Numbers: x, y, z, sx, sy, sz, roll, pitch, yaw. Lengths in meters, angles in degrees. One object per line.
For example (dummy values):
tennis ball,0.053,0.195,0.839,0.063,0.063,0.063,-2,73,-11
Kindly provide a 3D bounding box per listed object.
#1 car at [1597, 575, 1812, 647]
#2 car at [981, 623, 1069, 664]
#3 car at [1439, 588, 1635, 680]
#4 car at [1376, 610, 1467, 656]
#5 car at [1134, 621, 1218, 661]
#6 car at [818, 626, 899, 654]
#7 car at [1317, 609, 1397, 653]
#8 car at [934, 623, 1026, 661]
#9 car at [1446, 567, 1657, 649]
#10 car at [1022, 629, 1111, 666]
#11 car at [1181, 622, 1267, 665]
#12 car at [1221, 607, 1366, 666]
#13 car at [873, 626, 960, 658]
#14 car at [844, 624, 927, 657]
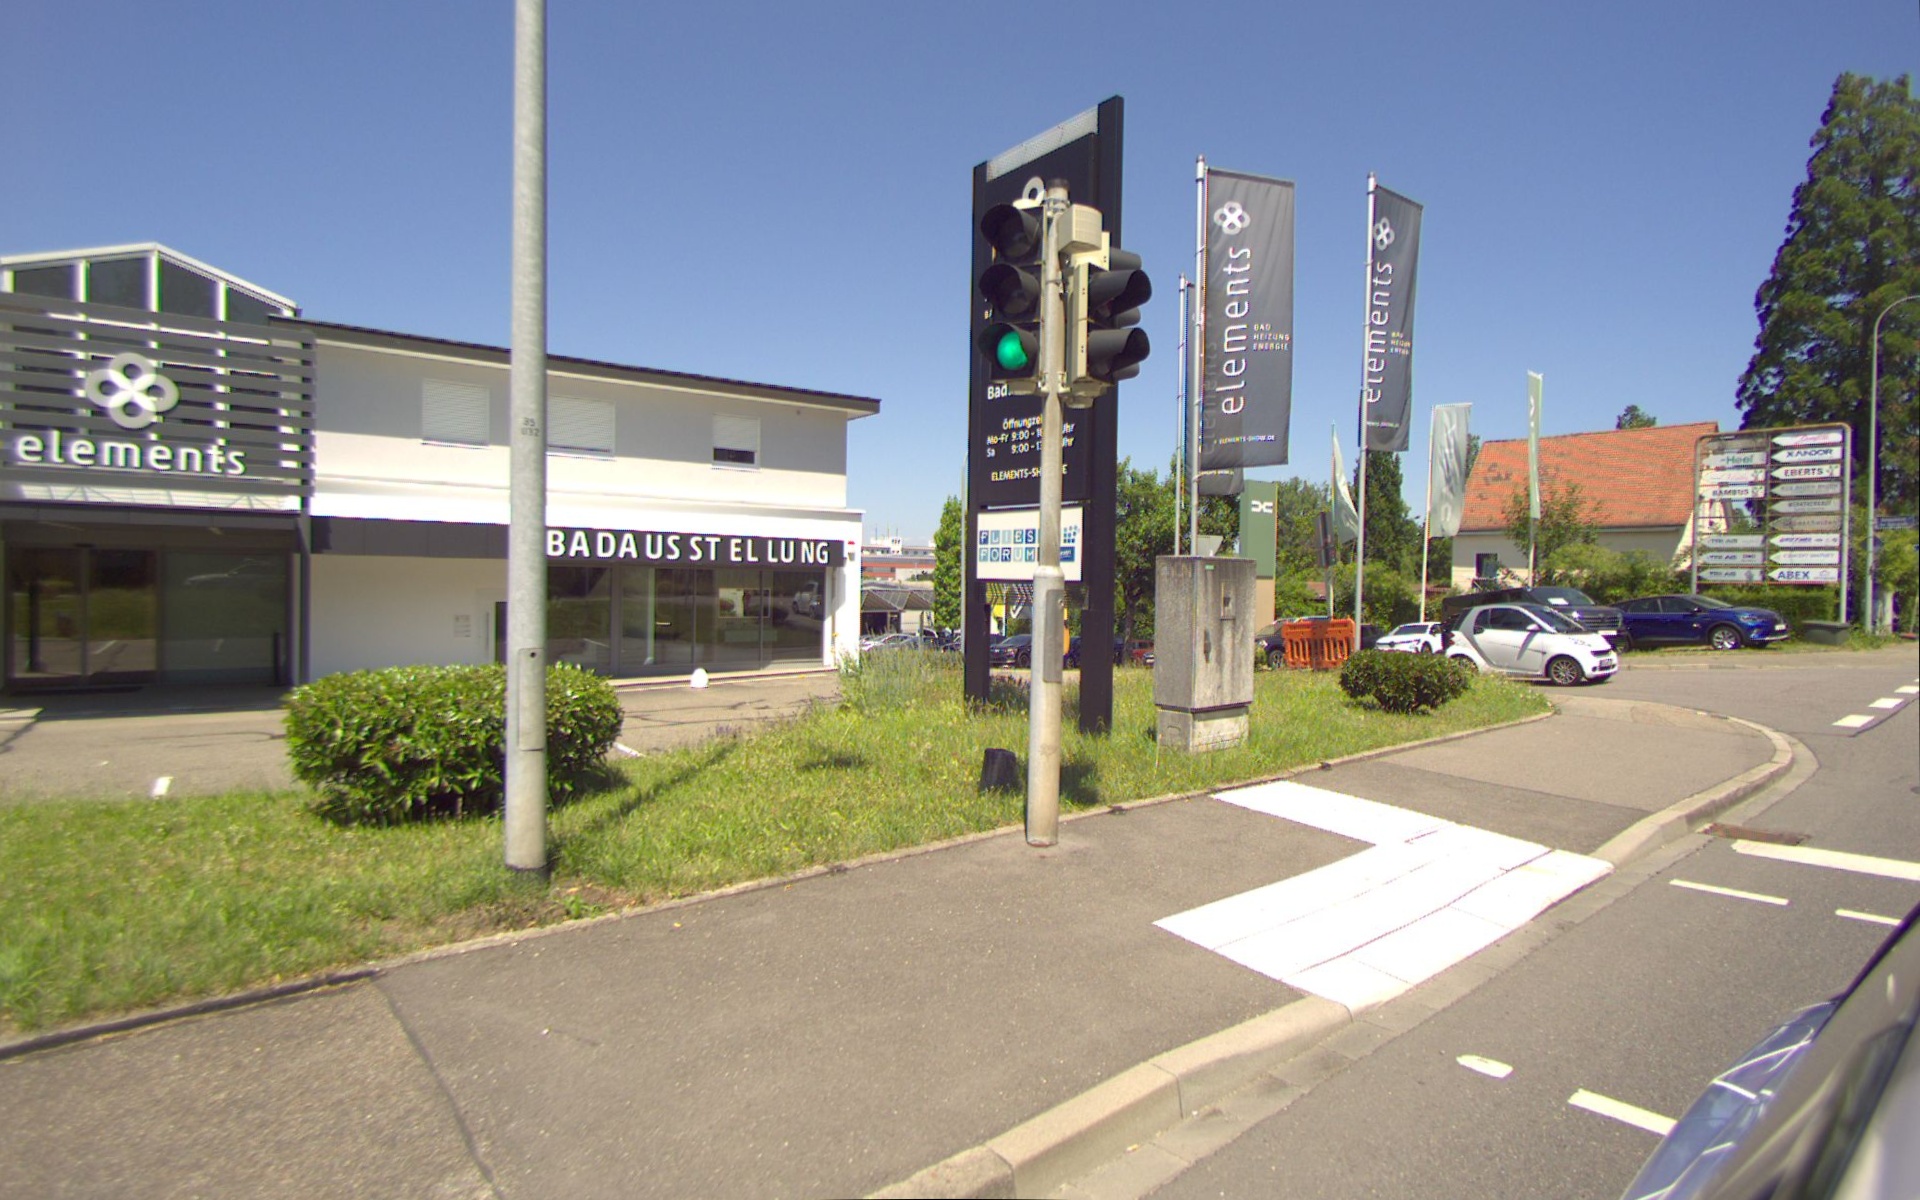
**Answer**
car,19.517,0.327,26.737,1.819,1.534,4.083,-3,-3,-29
car,2.793,1.888,42.983,1.743,1.555,4.029,-2,-5,38
car,10.905,0.639,19.234,1.567,1.539,2.775,-3,0,-35
car,16.883,1.240,36.940,1.823,1.511,4.077,-3,-5,43
car,10.113,1.877,47.211,3.931,1.725,1.872,0,0,-42
car,-5.438,2.130,54.333,3.922,1.405,1.780,0,0,-34
car,16.065,1.289,40.922,3.373,1.528,1.736,6,-6,-42
car,0.978,1.955,46.523,1.864,1.555,4.341,-2,-5,42
car,15.989,0.315,27.786,1.956,1.925,5.282,-1,-3,-10
car,4.346,1.922,40.856,1.707,1.391,3.943,-2,-4,38
car,11.847,1.898,45.285,3.931,1.725,1.872,0,0,-42
car,10.715,1.145,32.543,4.278,1.678,1.832,-1,-1,-25
car,-2.134,2.055,50.047,3.922,1.405,1.780,0,0,-34
car,-3.851,2.075,52.300,3.922,1.543,1.780,0,0,-34
